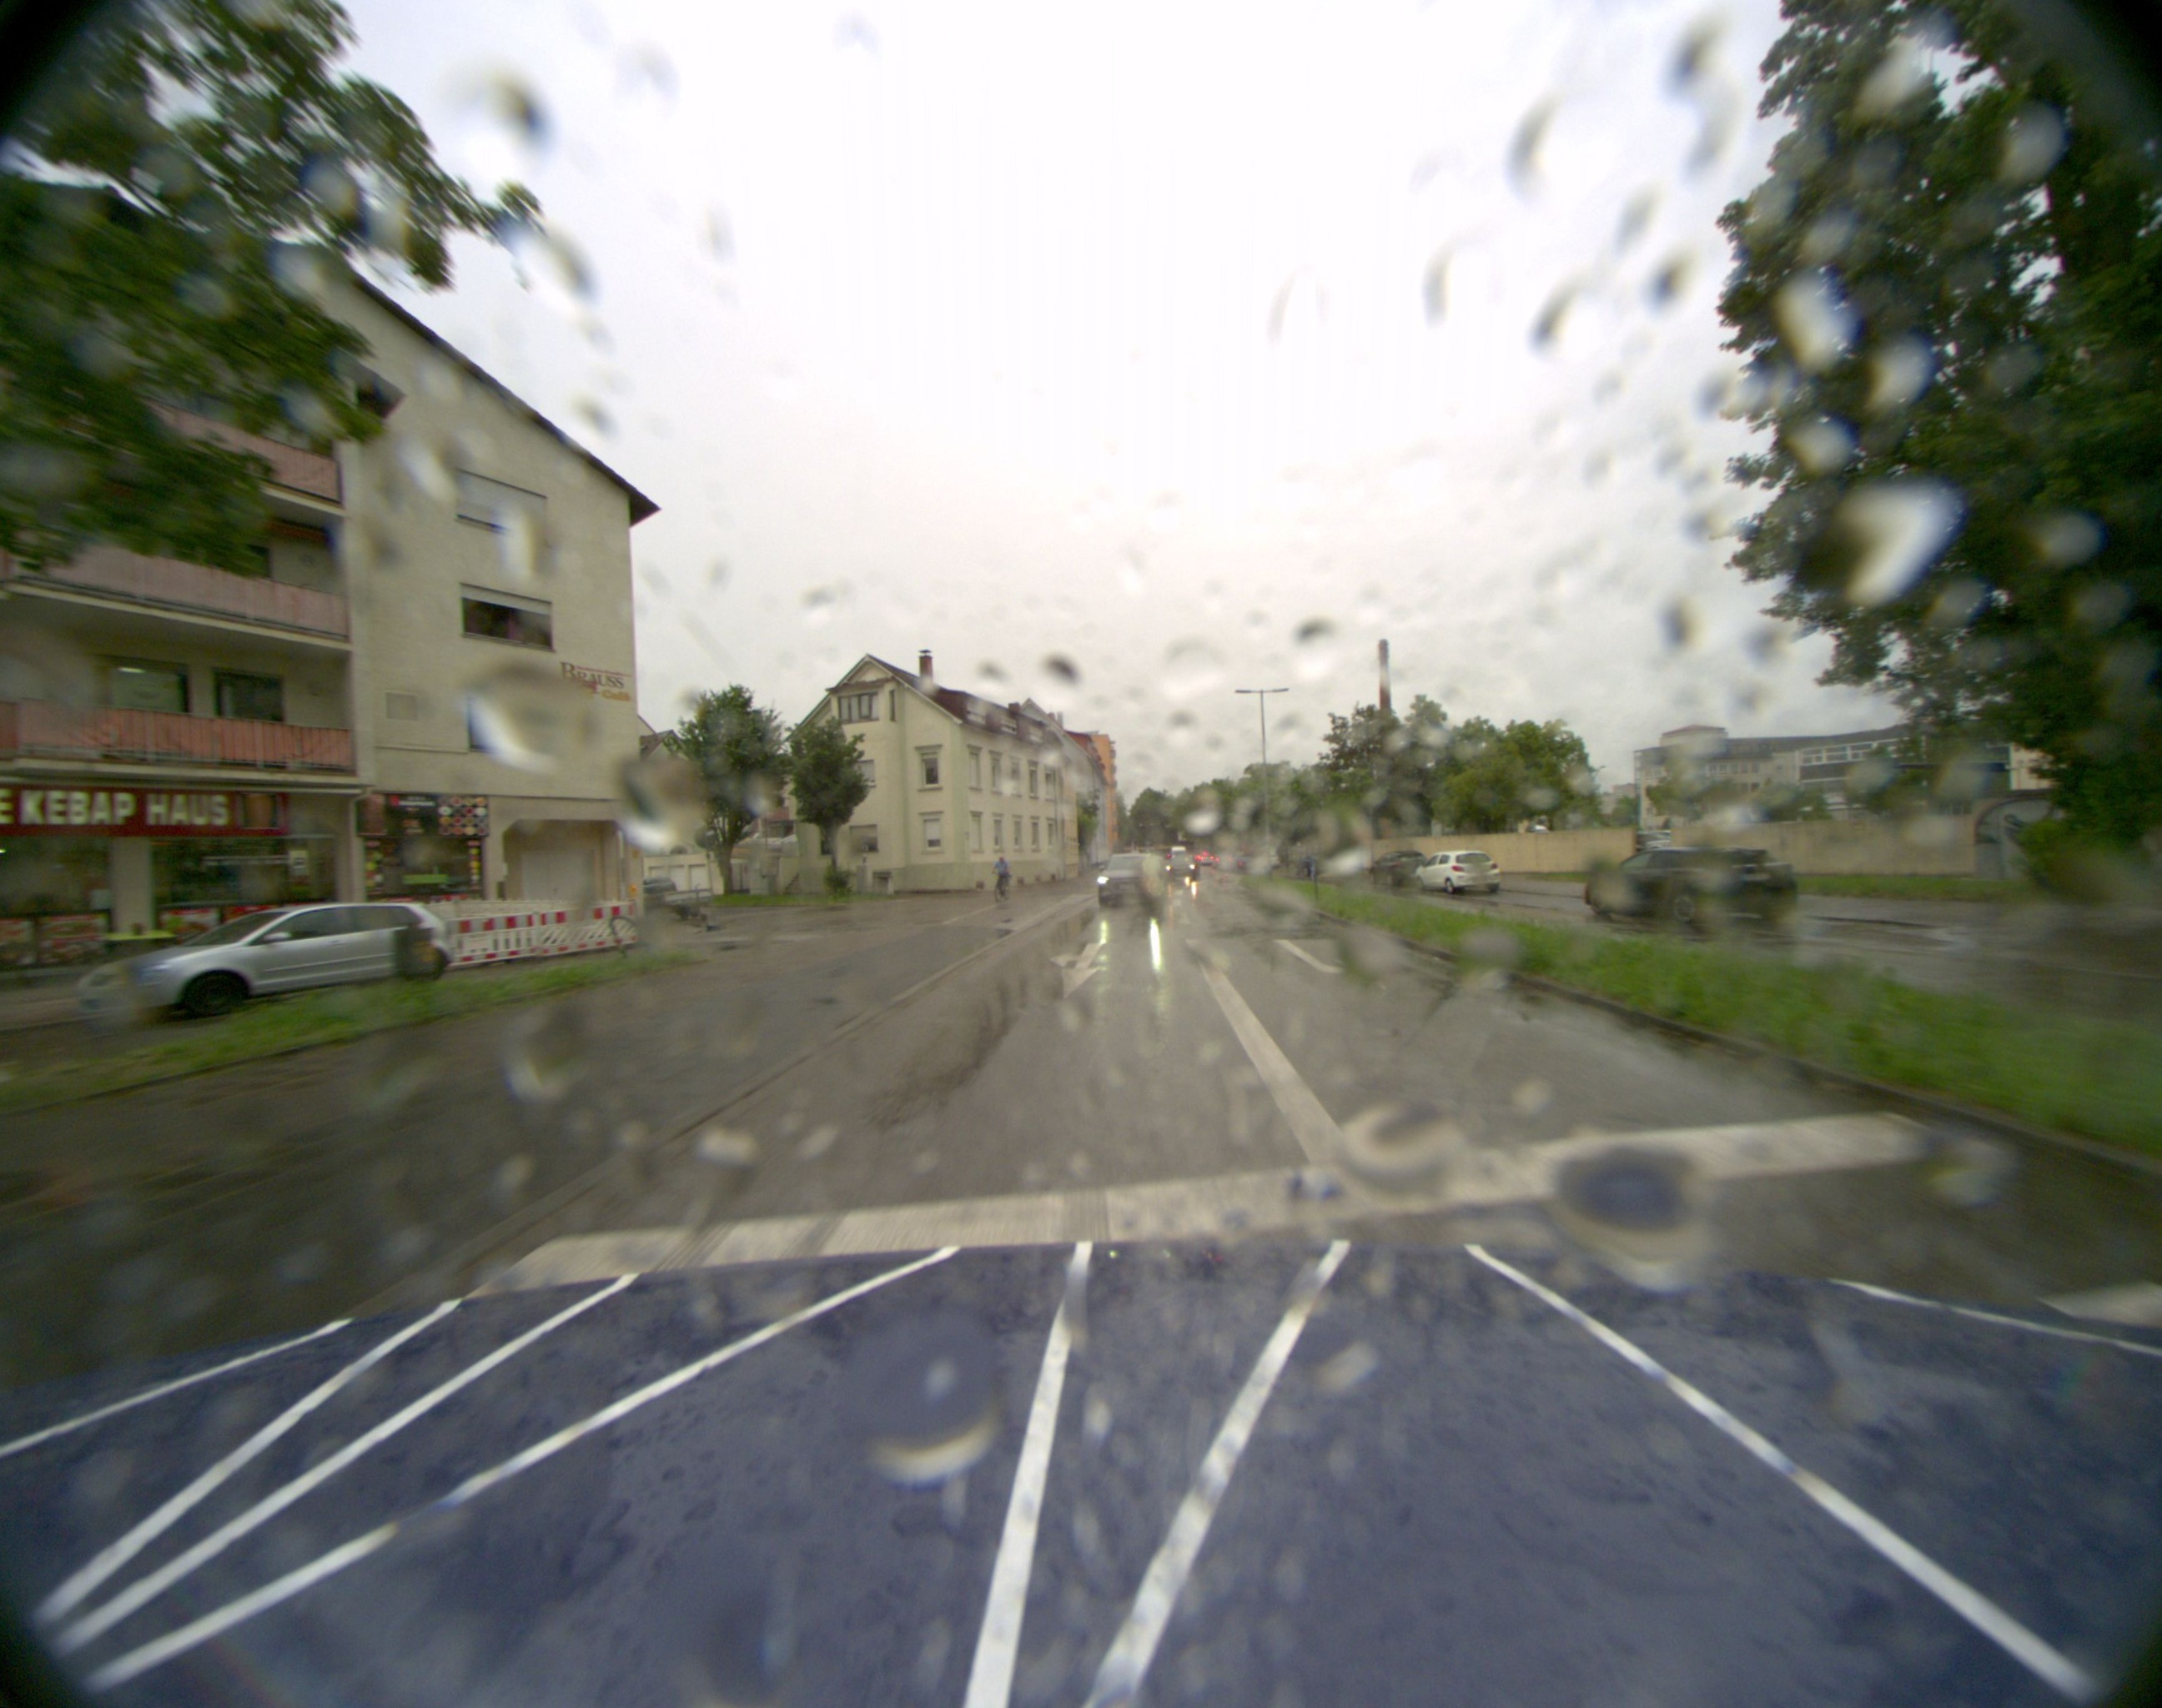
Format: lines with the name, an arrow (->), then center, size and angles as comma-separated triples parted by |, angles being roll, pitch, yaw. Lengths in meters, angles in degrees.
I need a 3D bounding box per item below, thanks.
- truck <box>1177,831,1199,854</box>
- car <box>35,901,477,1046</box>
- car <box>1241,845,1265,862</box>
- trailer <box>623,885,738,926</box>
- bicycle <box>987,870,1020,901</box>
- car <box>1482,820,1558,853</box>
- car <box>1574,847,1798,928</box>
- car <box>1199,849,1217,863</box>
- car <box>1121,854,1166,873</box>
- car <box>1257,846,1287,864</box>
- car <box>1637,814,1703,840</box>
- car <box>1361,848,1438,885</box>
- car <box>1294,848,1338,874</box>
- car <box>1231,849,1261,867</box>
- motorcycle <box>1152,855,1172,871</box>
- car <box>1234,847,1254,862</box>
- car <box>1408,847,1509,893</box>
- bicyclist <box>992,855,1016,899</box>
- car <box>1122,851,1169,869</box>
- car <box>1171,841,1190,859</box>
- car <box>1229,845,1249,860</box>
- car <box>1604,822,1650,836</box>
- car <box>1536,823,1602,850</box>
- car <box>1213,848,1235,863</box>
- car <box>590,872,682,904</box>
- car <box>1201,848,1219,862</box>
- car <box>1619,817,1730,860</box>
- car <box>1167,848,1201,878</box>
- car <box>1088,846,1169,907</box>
truck -> 22.088, -2.361, 157.396 | 3.831, 4.359, 10.789 | -3, 1, 6
car -> -12.065, 1.630, 11.571 | 1.636, 1.425, 4.181 | -3, 1, 19
car -> 17.302, -0.029, 76.411 | 1.628, 1.589, 3.798 | -3, 1, 2
trailer -> -14.271, 1.787, 26.981 | 4.521, 1.224, 1.828 | -3, 1, 38
bicycle -> -2.911, 1.181, 28.681 | 0.674, 1.054, 1.973 | -3, 0, 9
car -> 34.615, -1.344, 60.048 | 2.152, 2.383, 4.711 | -3, 1, -24
car -> 12.581, 0.607, 16.186 | 1.548, 1.389, 4.194 | -4, 1, 3
car -> 17.557, 0.295, 105.385 | 2.070, 1.732, 4.176 | -3, 1, 6
car -> 5.428, 0.841, 65.425 | 3.759, 1.446, 1.802 | -3, -1, 6
car -> 16.979, 0.049, 67.668 | 1.778, 1.451, 4.681 | -3, 1, 4
car -> 50.716, -2.300, 65.542 | 2.002, 2.002, 3.992 | -3, 1, -25
car -> 13.666, 0.495, 32.850 | 1.731, 1.375, 4.180 | -4, 1, 3
car -> 14.620, 0.418, 47.474 | 1.699, 1.437, 4.098 | -3, 1, 4
car -> 13.129, 0.292, 60.474 | 1.731, 1.385, 3.951 | 0, 1, 3
motorcycle -> 7.553, 0.820, 70.635 | 1.766, 1.365, 0.735 | -3, 1, 6
car -> 17.459, 0.018, 81.513 | 1.693, 1.445, 3.720 | -3, 1, 7
car -> 13.373, 0.507, 27.188 | 1.606, 1.465, 4.122 | -3, 1, 2
bicyclist -> -2.855, 0.839, 28.308 | 0.639, 1.573, 0.716 | -3, 0, 9
car -> 5.822, 0.545, 68.018 | 4.062, 1.446, 1.935 | -3, -1, 6
car -> 13.116, -0.536, 100.200 | 2.193, 2.242, 4.886 | -3, 1, 6
car -> 18.774, -0.211, 90.420 | 1.881, 1.672, 4.038 | -3, 1, 6
car -> 64.650, -2.933, 90.032 | 2.002, 1.433, 3.992 | -2, 0, -26
car -> 39.336, -1.390, 61.304 | 2.002, 2.002, 3.992 | -3, 1, -25
car -> 14.483, 0.104, 77.165 | 1.709, 1.492, 3.947 | 0, 1, 4
car -> -26.736, 2.021, 45.842 | 1.734, 1.525, 4.473 | -3, 1, 29
car -> 16.867, 0.106, 99.443 | 2.070, 1.732, 4.176 | -3, 1, 7
car -> 30.344, -0.772, 38.942 | 2.003, 1.980, 3.991 | -3, 1, -31
car -> 6.311, 0.484, 46.132 | 1.830, 1.619, 4.002 | -3, 1, 10
car -> 1.628, 0.649, 24.408 | 1.959, 1.702, 4.177 | -3, 1, 11
